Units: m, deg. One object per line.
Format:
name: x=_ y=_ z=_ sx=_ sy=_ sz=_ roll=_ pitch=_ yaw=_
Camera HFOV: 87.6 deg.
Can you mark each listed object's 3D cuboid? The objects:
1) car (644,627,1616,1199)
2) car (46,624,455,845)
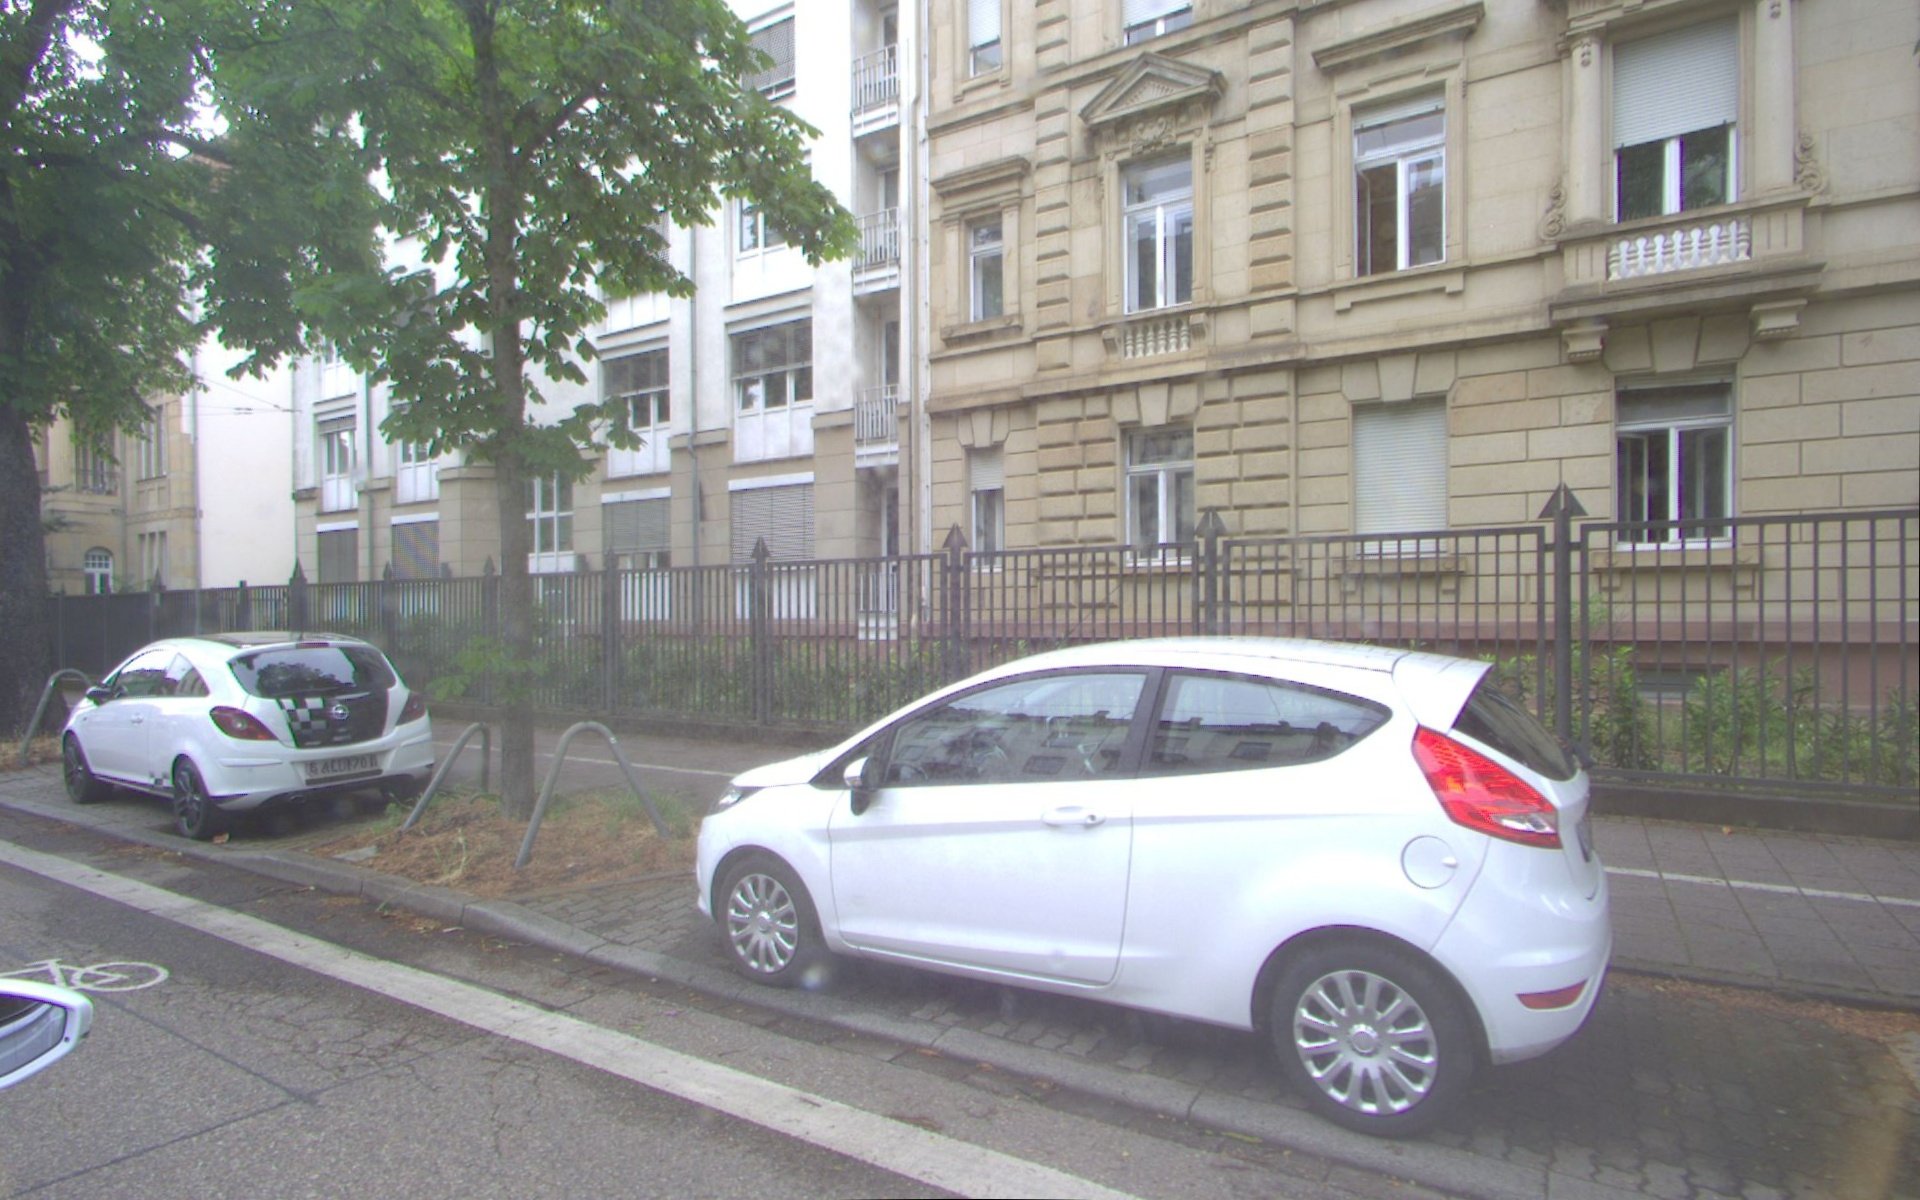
car: x=0.559 y=0.888 z=4.284 sx=3.711 sy=1.455 sz=1.623 roll=-1 pitch=1 yaw=32
car: x=-6.183 y=0.976 z=8.632 sx=3.723 sy=1.455 sz=1.598 roll=-1 pitch=1 yaw=33
